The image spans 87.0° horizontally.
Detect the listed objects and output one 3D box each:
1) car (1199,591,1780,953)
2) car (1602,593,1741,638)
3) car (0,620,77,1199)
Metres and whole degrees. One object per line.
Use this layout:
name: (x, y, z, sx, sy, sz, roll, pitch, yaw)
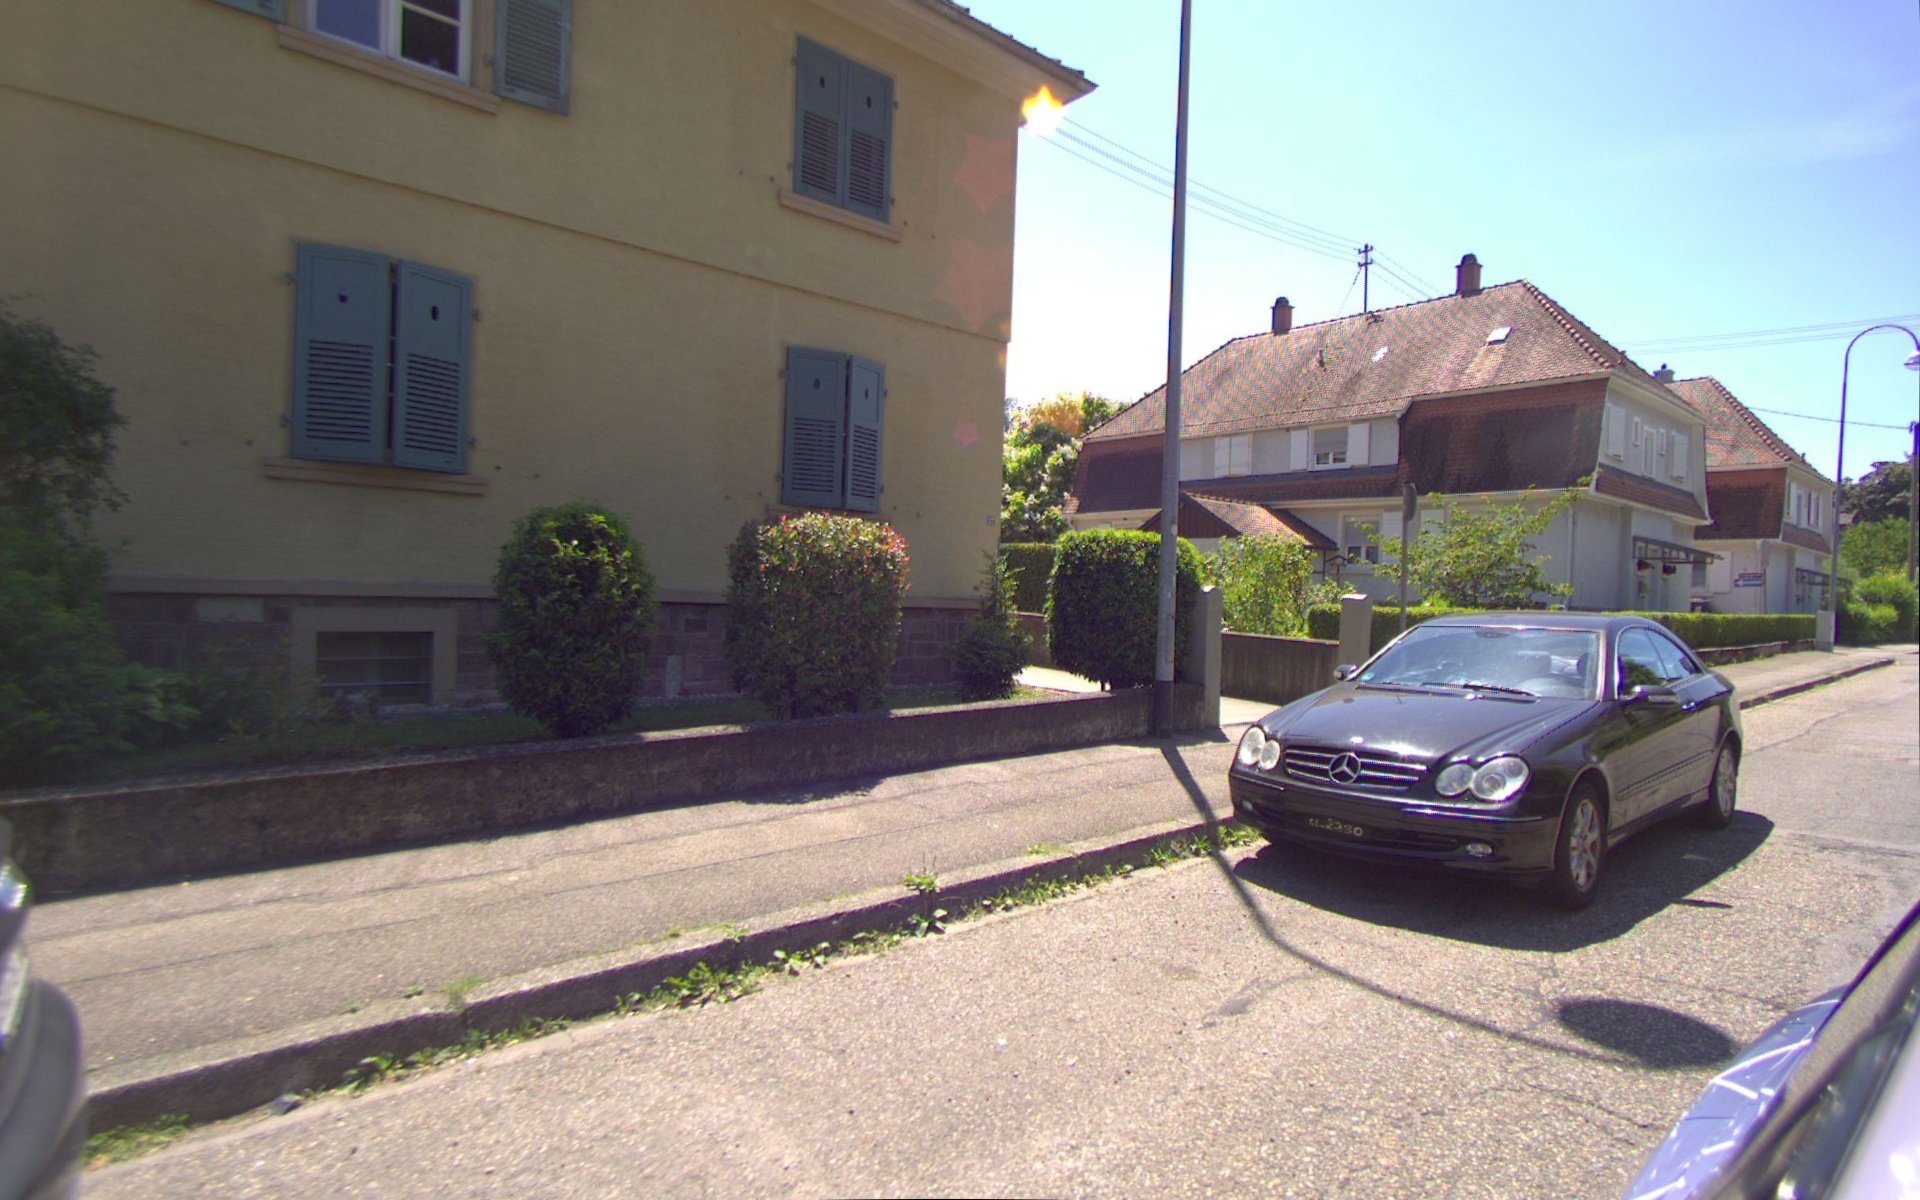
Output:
car: (3.504, 0.680, 6.242, 4.472, 1.436, 1.695, -1, 1, -41)
car: (26.464, 0.532, 37.753, 1.664, 1.555, 4.001, 0, 0, -42)
car: (-3.353, 0.758, 0.385, 4.527, 1.388, 1.764, 0, 1, -42)
